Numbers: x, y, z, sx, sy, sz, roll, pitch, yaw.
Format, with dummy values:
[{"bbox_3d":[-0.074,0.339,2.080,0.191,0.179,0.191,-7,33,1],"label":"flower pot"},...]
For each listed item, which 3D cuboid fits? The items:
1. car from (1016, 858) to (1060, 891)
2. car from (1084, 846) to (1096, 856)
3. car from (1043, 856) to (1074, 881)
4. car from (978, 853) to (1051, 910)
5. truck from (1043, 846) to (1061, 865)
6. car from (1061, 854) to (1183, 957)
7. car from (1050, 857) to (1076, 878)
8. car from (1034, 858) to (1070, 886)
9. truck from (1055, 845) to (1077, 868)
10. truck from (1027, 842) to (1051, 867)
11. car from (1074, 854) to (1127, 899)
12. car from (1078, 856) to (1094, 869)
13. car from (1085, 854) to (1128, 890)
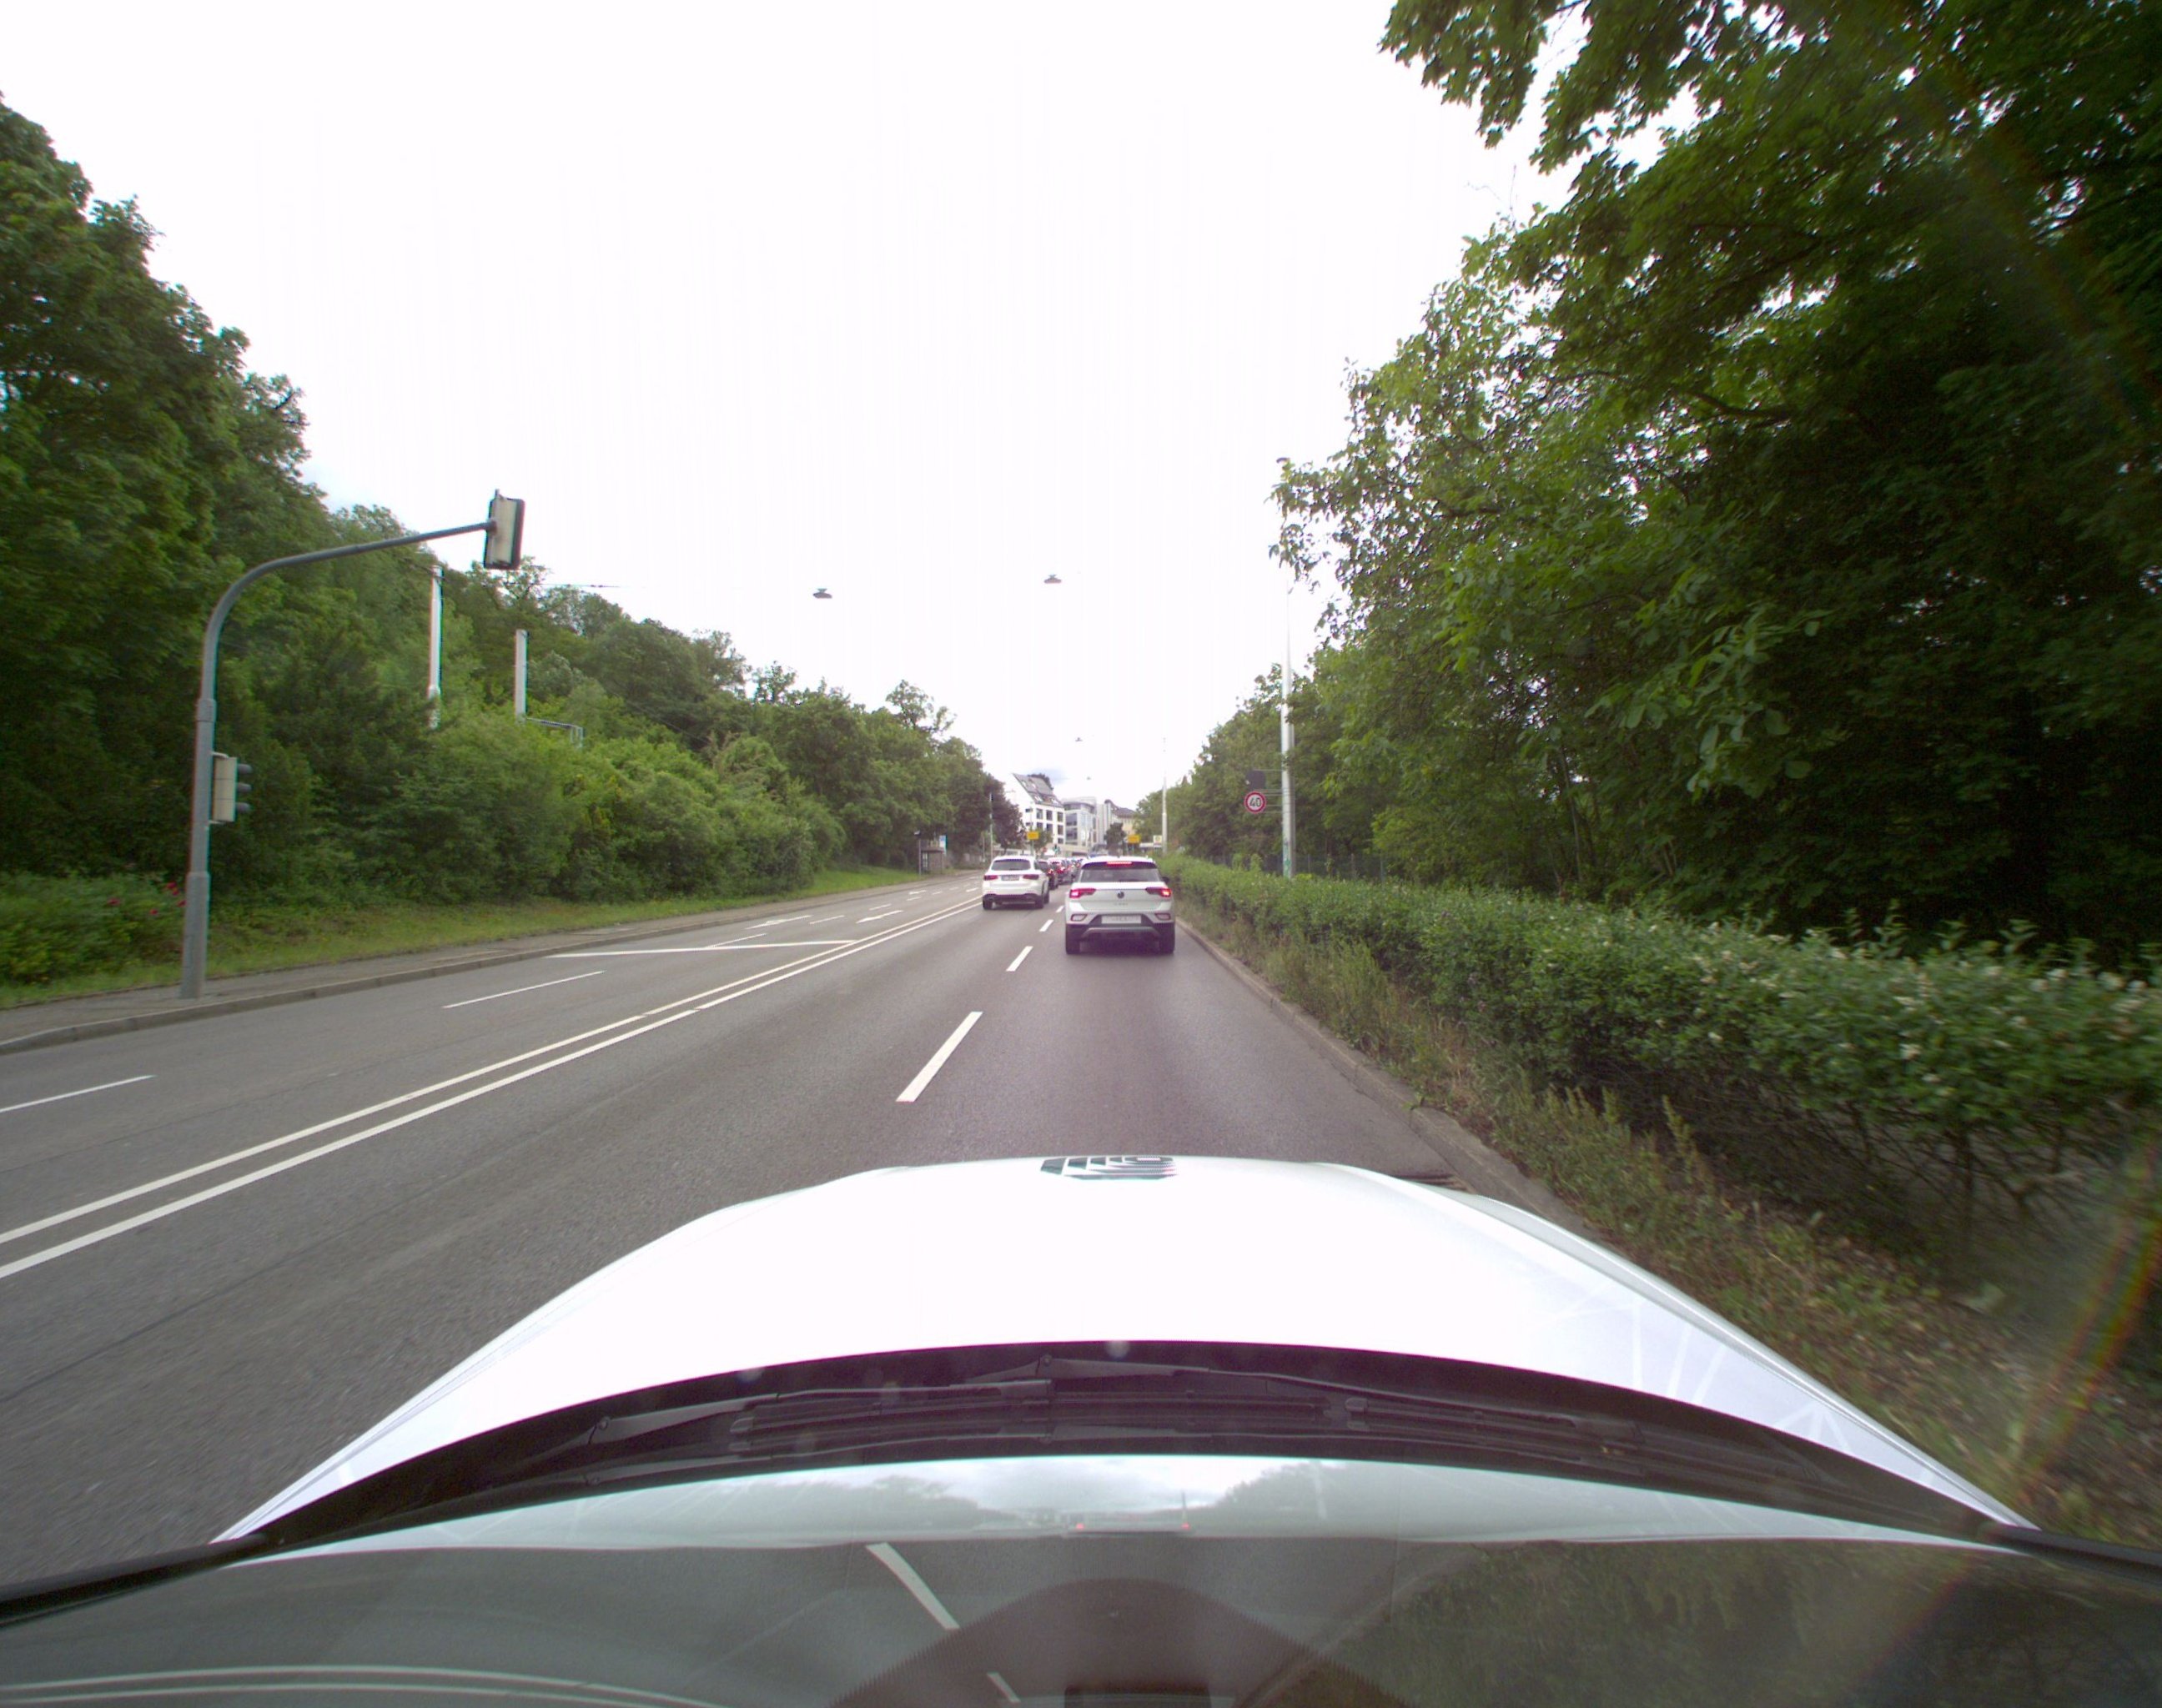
[{"bbox_3d":[-2.090,0.965,40.345,1.823,1.497,4.001,-2,0,1],"label":"car"},{"bbox_3d":[1.429,-0.538,133.271,1.823,1.526,4.001,-2,0,1],"label":"car"},{"bbox_3d":[-1.506,0.970,55.236,1.823,1.526,4.001,-2,0,1],"label":"car"},{"bbox_3d":[-2.030,0.821,26.056,1.911,1.669,4.001,-1,0,1],"label":"car"},{"bbox_3d":[-5.086,0.274,143.895,2.283,3.051,6.987,-3,-1,4],"label":"truck"},{"bbox_3d":[0.664,0.798,14.434,1.822,1.526,4.001,-2,0,1],"label":"car"},{"bbox_3d":[-1.353,1.047,63.004,1.823,1.526,4.001,-2,0,1],"label":"car"},{"bbox_3d":[-1.651,1.010,47.903,1.823,1.526,4.001,-2,0,1],"label":"car"},{"bbox_3d":[-1.853,0.329,101.761,2.354,2.782,4.479,-3,0,1],"label":"truck"},{"bbox_3d":[-4.947,0.061,97.178,2.354,2.706,4.479,-3,0,1],"label":"truck"},{"bbox_3d":[0.732,0.817,31.040,1.823,1.526,4.001,-2,0,1],"label":"car"},{"bbox_3d":[0.642,1.023,101.440,1.823,1.526,4.001,-2,0,1],"label":"car"},{"bbox_3d":[1.172,0.786,37.910,1.823,1.526,4.001,-2,0,1],"label":"car"}]
